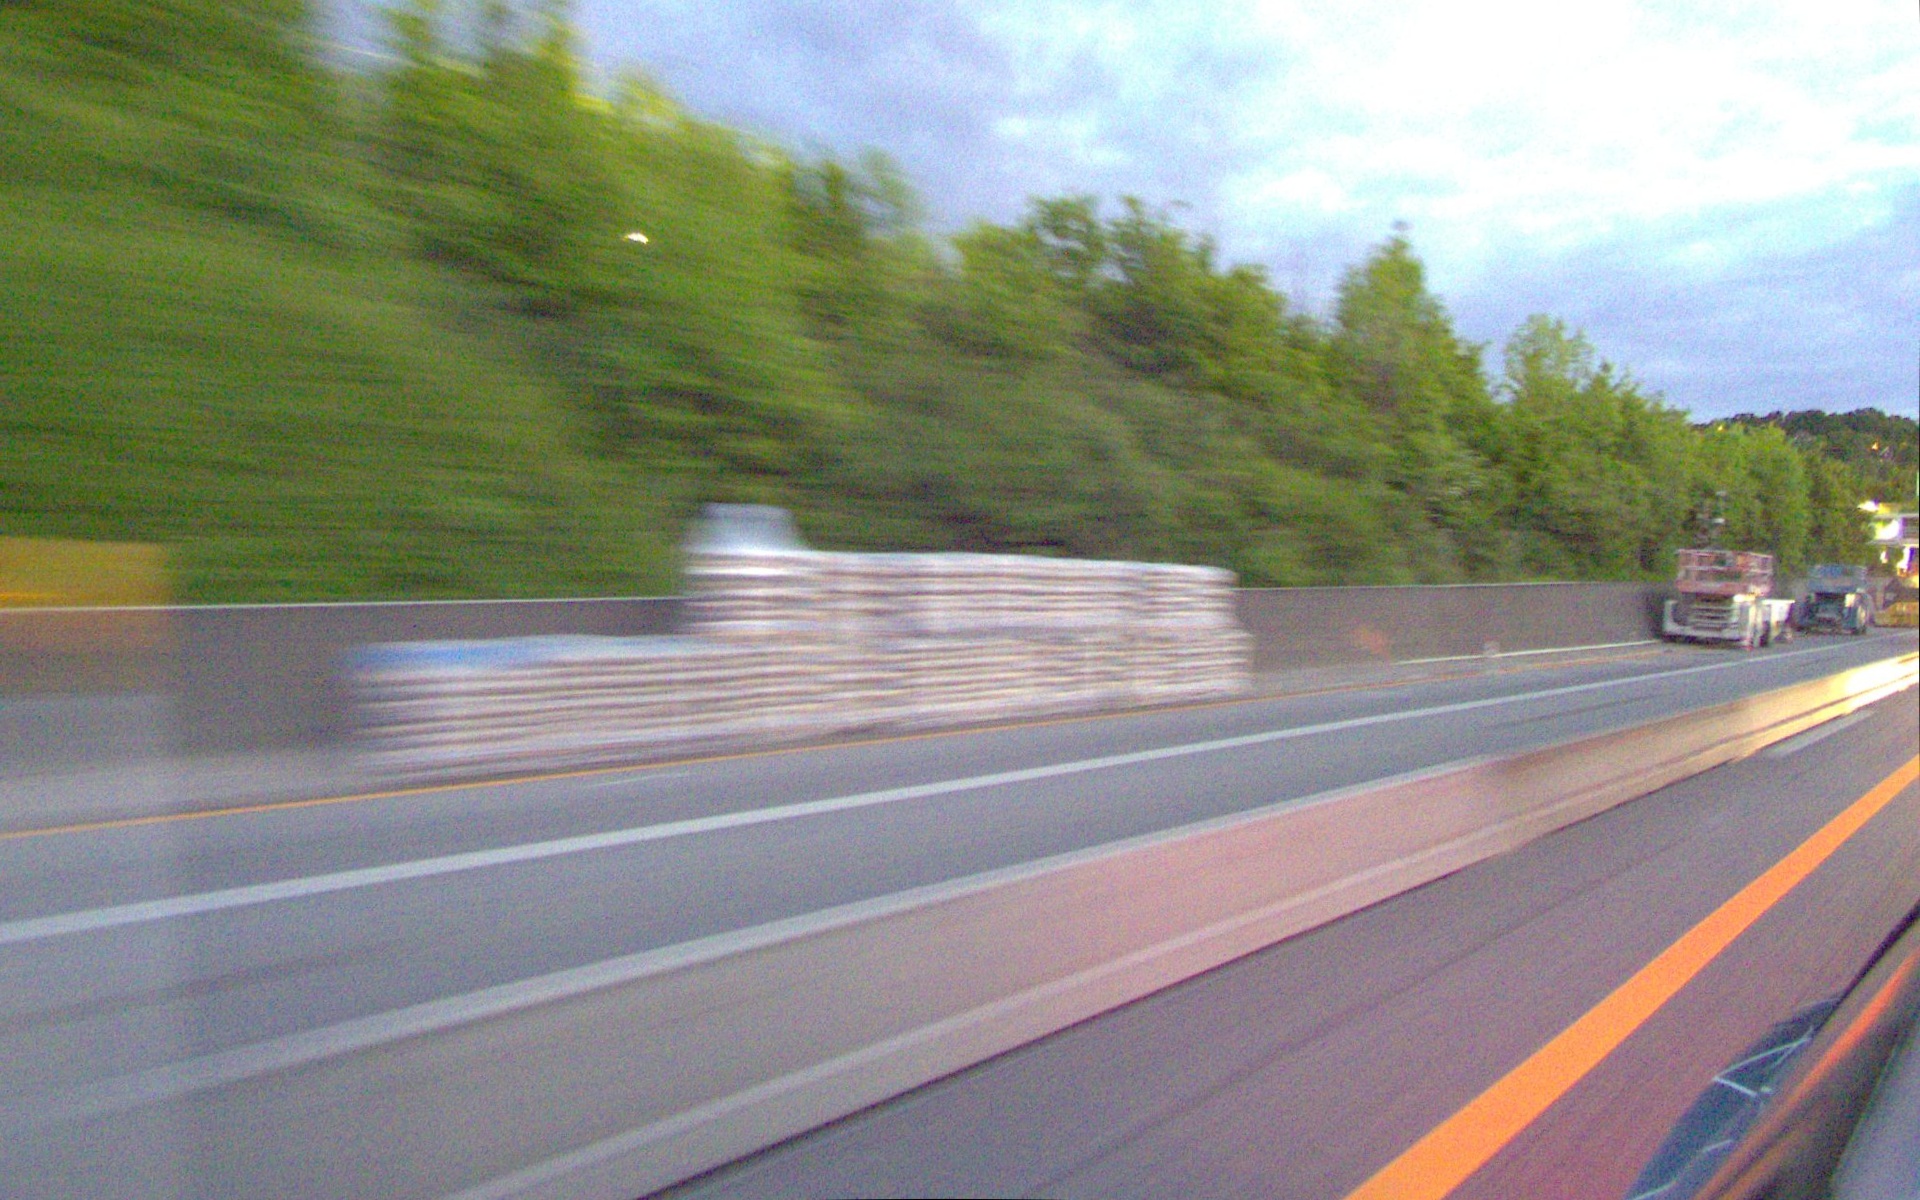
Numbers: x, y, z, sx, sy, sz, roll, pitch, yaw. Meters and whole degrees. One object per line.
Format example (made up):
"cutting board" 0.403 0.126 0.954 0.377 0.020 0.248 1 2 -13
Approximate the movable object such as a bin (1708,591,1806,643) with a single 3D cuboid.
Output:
"movable object such as a bin" 28.293 0.559 35.891 4.014 1.621 1.997 -1 3 -41

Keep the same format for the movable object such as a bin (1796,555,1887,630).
"movable object such as a bin" 41.742 -0.388 47.869 5.484 3.359 2.568 0 2 -42

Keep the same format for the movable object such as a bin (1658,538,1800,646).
"movable object such as a bin" 24.777 -0.289 32.513 5.707 3.146 2.624 0 1 -42
